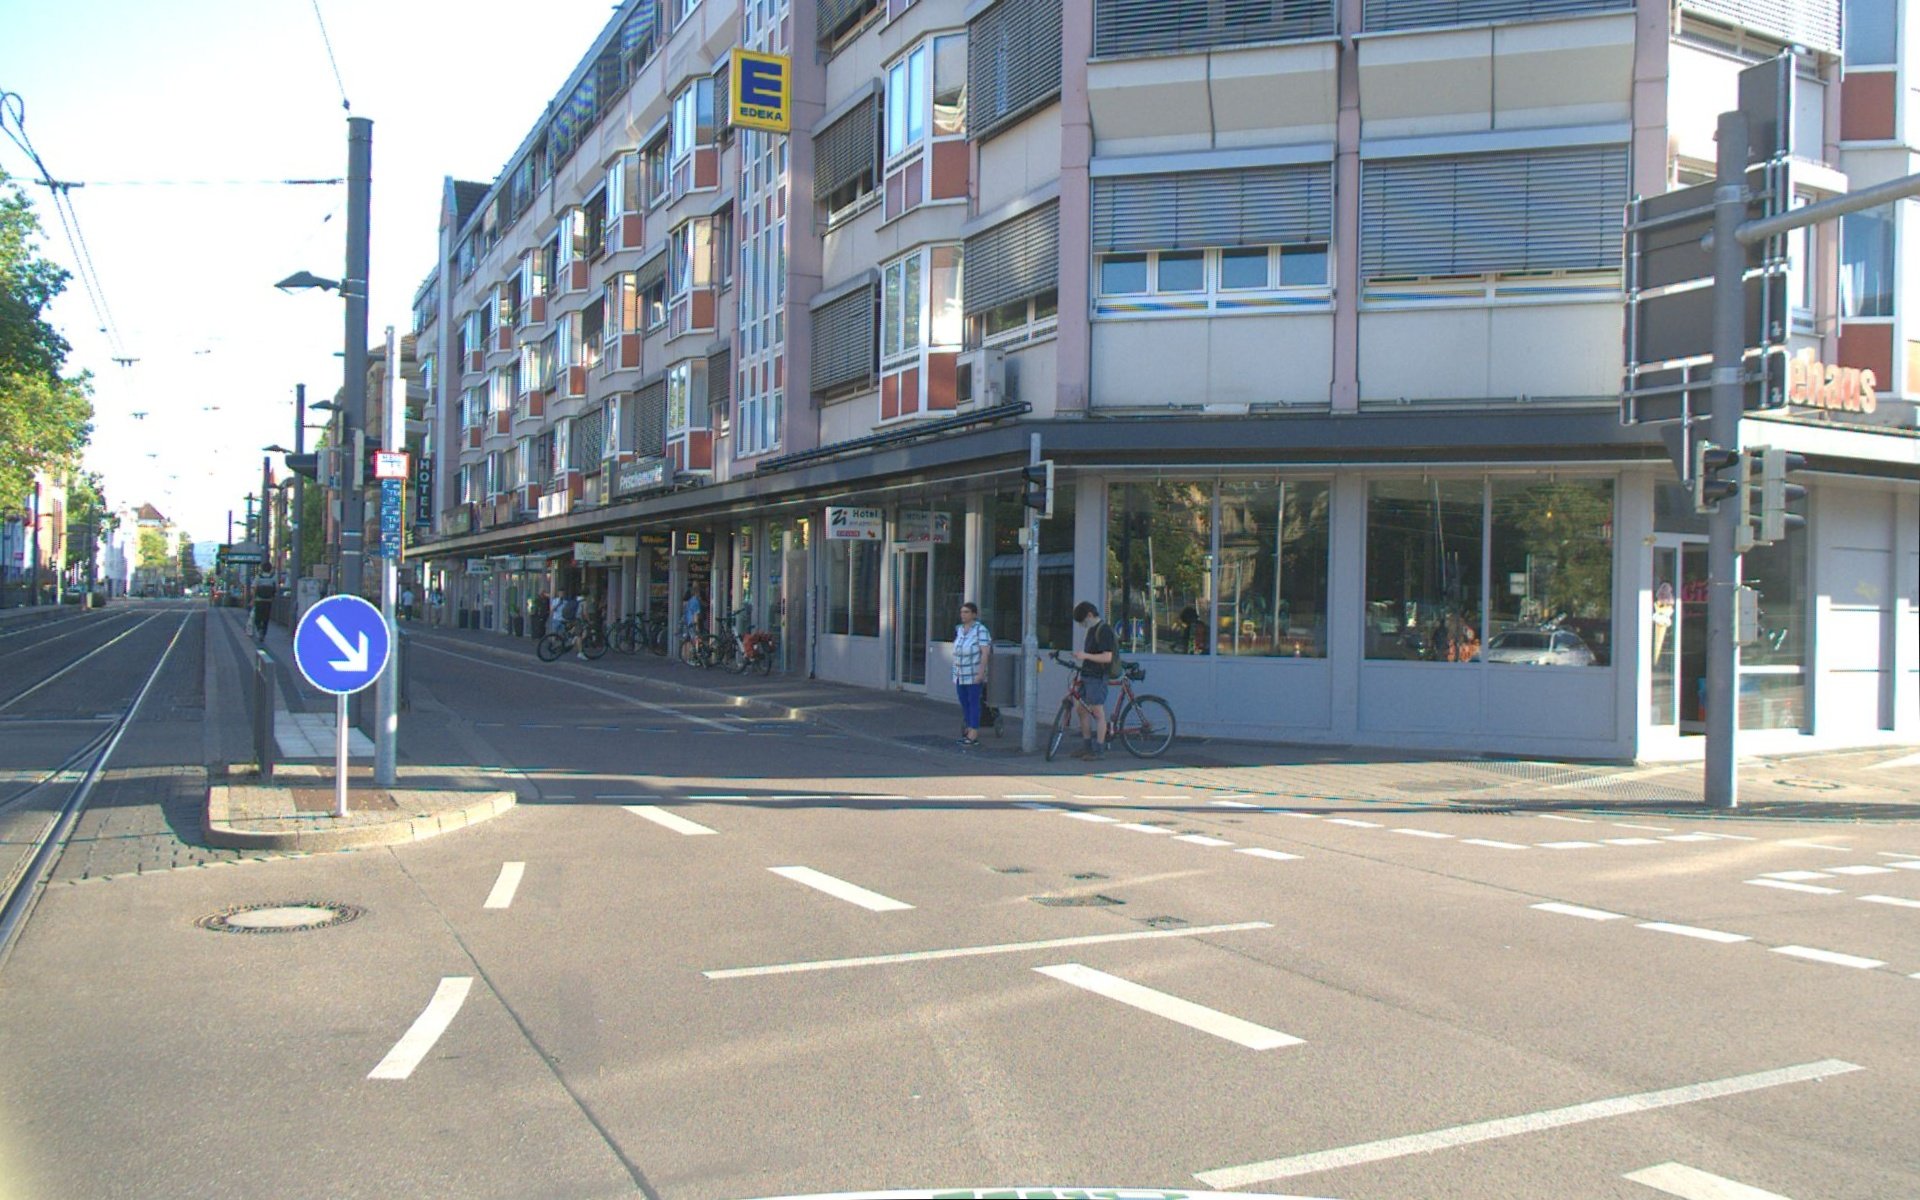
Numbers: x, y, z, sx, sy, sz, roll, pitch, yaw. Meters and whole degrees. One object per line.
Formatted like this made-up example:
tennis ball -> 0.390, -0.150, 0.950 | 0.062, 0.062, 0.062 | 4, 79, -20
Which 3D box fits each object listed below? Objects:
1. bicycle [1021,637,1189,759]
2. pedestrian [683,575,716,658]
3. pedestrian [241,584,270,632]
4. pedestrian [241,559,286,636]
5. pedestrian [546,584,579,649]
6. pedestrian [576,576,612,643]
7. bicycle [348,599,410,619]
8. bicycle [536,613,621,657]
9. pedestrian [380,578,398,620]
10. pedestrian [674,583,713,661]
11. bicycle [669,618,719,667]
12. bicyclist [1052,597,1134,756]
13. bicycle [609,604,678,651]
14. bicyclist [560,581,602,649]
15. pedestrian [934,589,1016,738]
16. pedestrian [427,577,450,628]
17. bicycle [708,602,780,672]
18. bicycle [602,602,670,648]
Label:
bicycle -> 1.564, 1.031, 17.788 | 1.742, 1.165, 0.635 | -1, 2, -27
pedestrian -> -6.040, 0.376, 38.316 | 0.600, 1.884, 0.600 | 2, 1, -20
pedestrian -> -25.456, 0.294, 59.764 | 0.772, 1.688, 0.675 | 1, 1, -36
pedestrian -> -15.600, -0.061, 37.041 | 0.772, 1.688, 0.675 | 1, 1, -36
pedestrian -> -10.433, 0.431, 43.356 | 0.739, 1.673, 0.547 | 2, 1, -20
pedestrian -> -10.139, 0.263, 45.851 | 0.801, 1.809, 0.680 | 2, 1, 0
bicycle -> -31.233, 0.504, 88.959 | 0.883, 1.010, 3.160 | 3, 1, 37
bicycle -> -9.118, 0.827, 39.548 | 1.891, 0.946, 0.620 | -2, 2, -38
pedestrian -> -28.580, -0.065, 82.762 | 0.762, 2.048, 0.501 | 2, 1, -21
pedestrian -> -5.806, 0.474, 36.028 | 0.596, 1.663, 0.604 | 2, 1, 16
bicycle -> -5.507, 0.866, 34.185 | 0.493, 0.933, 2.063 | 2, 0, -24
bicyclist -> 1.417, 0.803, 17.704 | 0.648, 1.624, 0.635 | -1, 2, -26
bicycle -> -7.980, 0.698, 41.739 | 1.627, 1.138, 0.479 | 2, 1, -31
bicyclist -> -8.989, 0.350, 39.234 | 0.790, 1.559, 0.623 | -2, 1, -28
pedestrian -> 0.174, 0.724, 19.244 | 0.702, 1.691, 0.631 | 0, -1, 37
pedestrian -> -21.460, 0.082, 68.044 | 0.827, 2.048, 0.773 | 2, 1, -21
bicycle -> -4.134, 0.687, 31.505 | 0.718, 1.248, 2.315 | 2, 0, -24
bicycle -> -8.430, 0.649, 43.089 | 1.627, 1.138, 0.560 | 2, 1, -31
